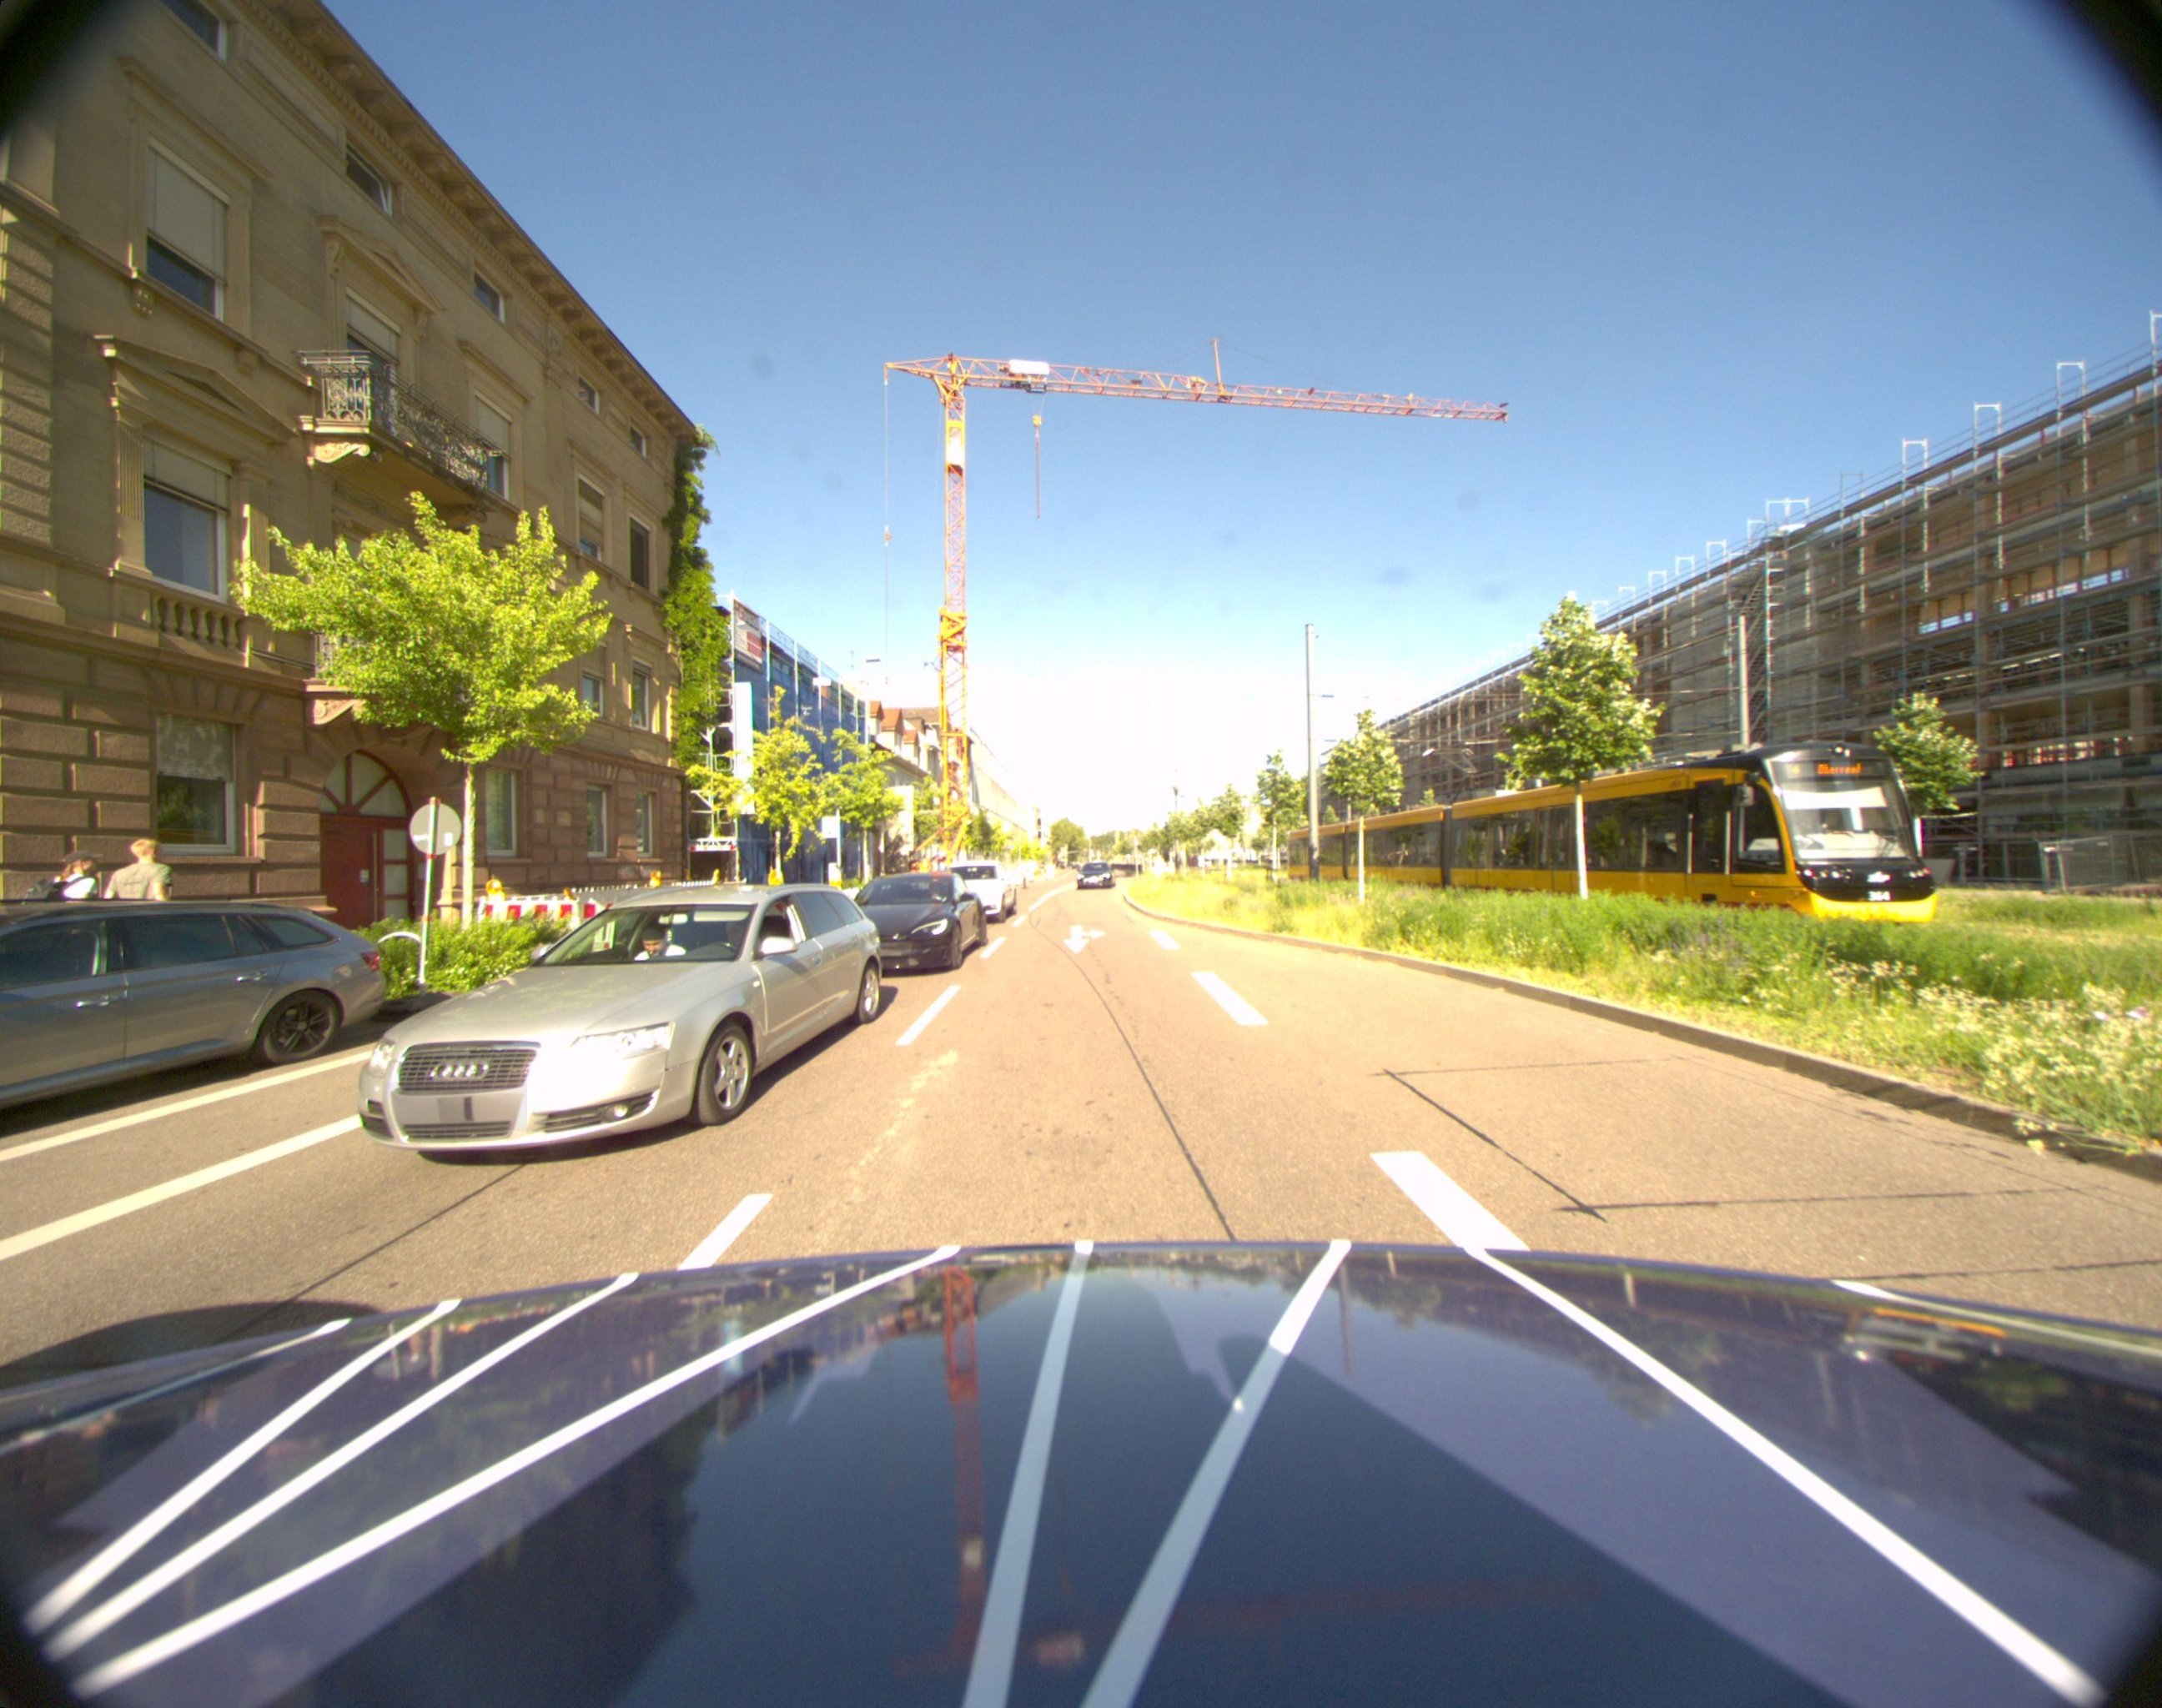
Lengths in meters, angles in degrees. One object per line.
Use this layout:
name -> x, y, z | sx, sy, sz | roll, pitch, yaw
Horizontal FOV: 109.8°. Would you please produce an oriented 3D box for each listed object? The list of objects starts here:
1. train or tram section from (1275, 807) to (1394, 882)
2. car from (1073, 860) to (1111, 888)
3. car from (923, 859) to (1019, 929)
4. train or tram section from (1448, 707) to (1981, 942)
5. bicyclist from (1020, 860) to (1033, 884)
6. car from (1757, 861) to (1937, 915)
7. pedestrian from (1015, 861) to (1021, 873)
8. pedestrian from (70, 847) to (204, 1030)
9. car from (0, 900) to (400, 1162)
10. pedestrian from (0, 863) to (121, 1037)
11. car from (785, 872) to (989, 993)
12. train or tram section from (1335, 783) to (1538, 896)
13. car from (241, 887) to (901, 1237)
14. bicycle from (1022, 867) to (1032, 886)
train or tram section -> 14.109, -0.457, 43.754 | 2.822, 3.617, 12.790 | -1, 0, 1
car -> 0.664, 1.053, 41.367 | 1.927, 1.434, 4.178 | -1, 0, 3
car -> -2.859, 1.002, 20.624 | 1.934, 1.624, 4.000 | -2, 0, 1
train or tram section -> 12.915, -0.447, 18.210 | 2.822, 3.617, 12.793 | -1, 0, 4
bicyclist -> -3.399, 1.140, 47.730 | 0.755, 1.454, 0.587 | -2, 1, -5
car -> 27.975, 1.157, 28.015 | 1.999, 1.782, 4.526 | -1, 0, -2
pedestrian -> -10.268, 2.066, 124.209 | 0.877, 1.913, 0.895 | 2, 2, 0
pedestrian -> -10.239, 0.890, 8.261 | 0.660, 1.902, 0.587 | 2, 0, 0
car -> -7.669, 1.205, 5.261 | 1.652, 1.466, 4.700 | 2, 0, 0
pedestrian -> -11.173, 1.019, 8.303 | 0.564, 1.810, 0.587 | 2, 0, 0
car -> -2.815, 1.081, 12.224 | 2.056, 1.435, 4.524 | -2, 0, 0
train or tram section -> 13.648, -0.463, 30.972 | 2.822, 3.617, 12.791 | -1, 0, 3
car -> -2.982, 1.091, 5.988 | 1.752, 1.419, 4.839 | -2, 0, 2
bicycle -> -3.389, 1.432, 47.778 | 0.610, 1.144, 1.986 | 0, 0, -5
